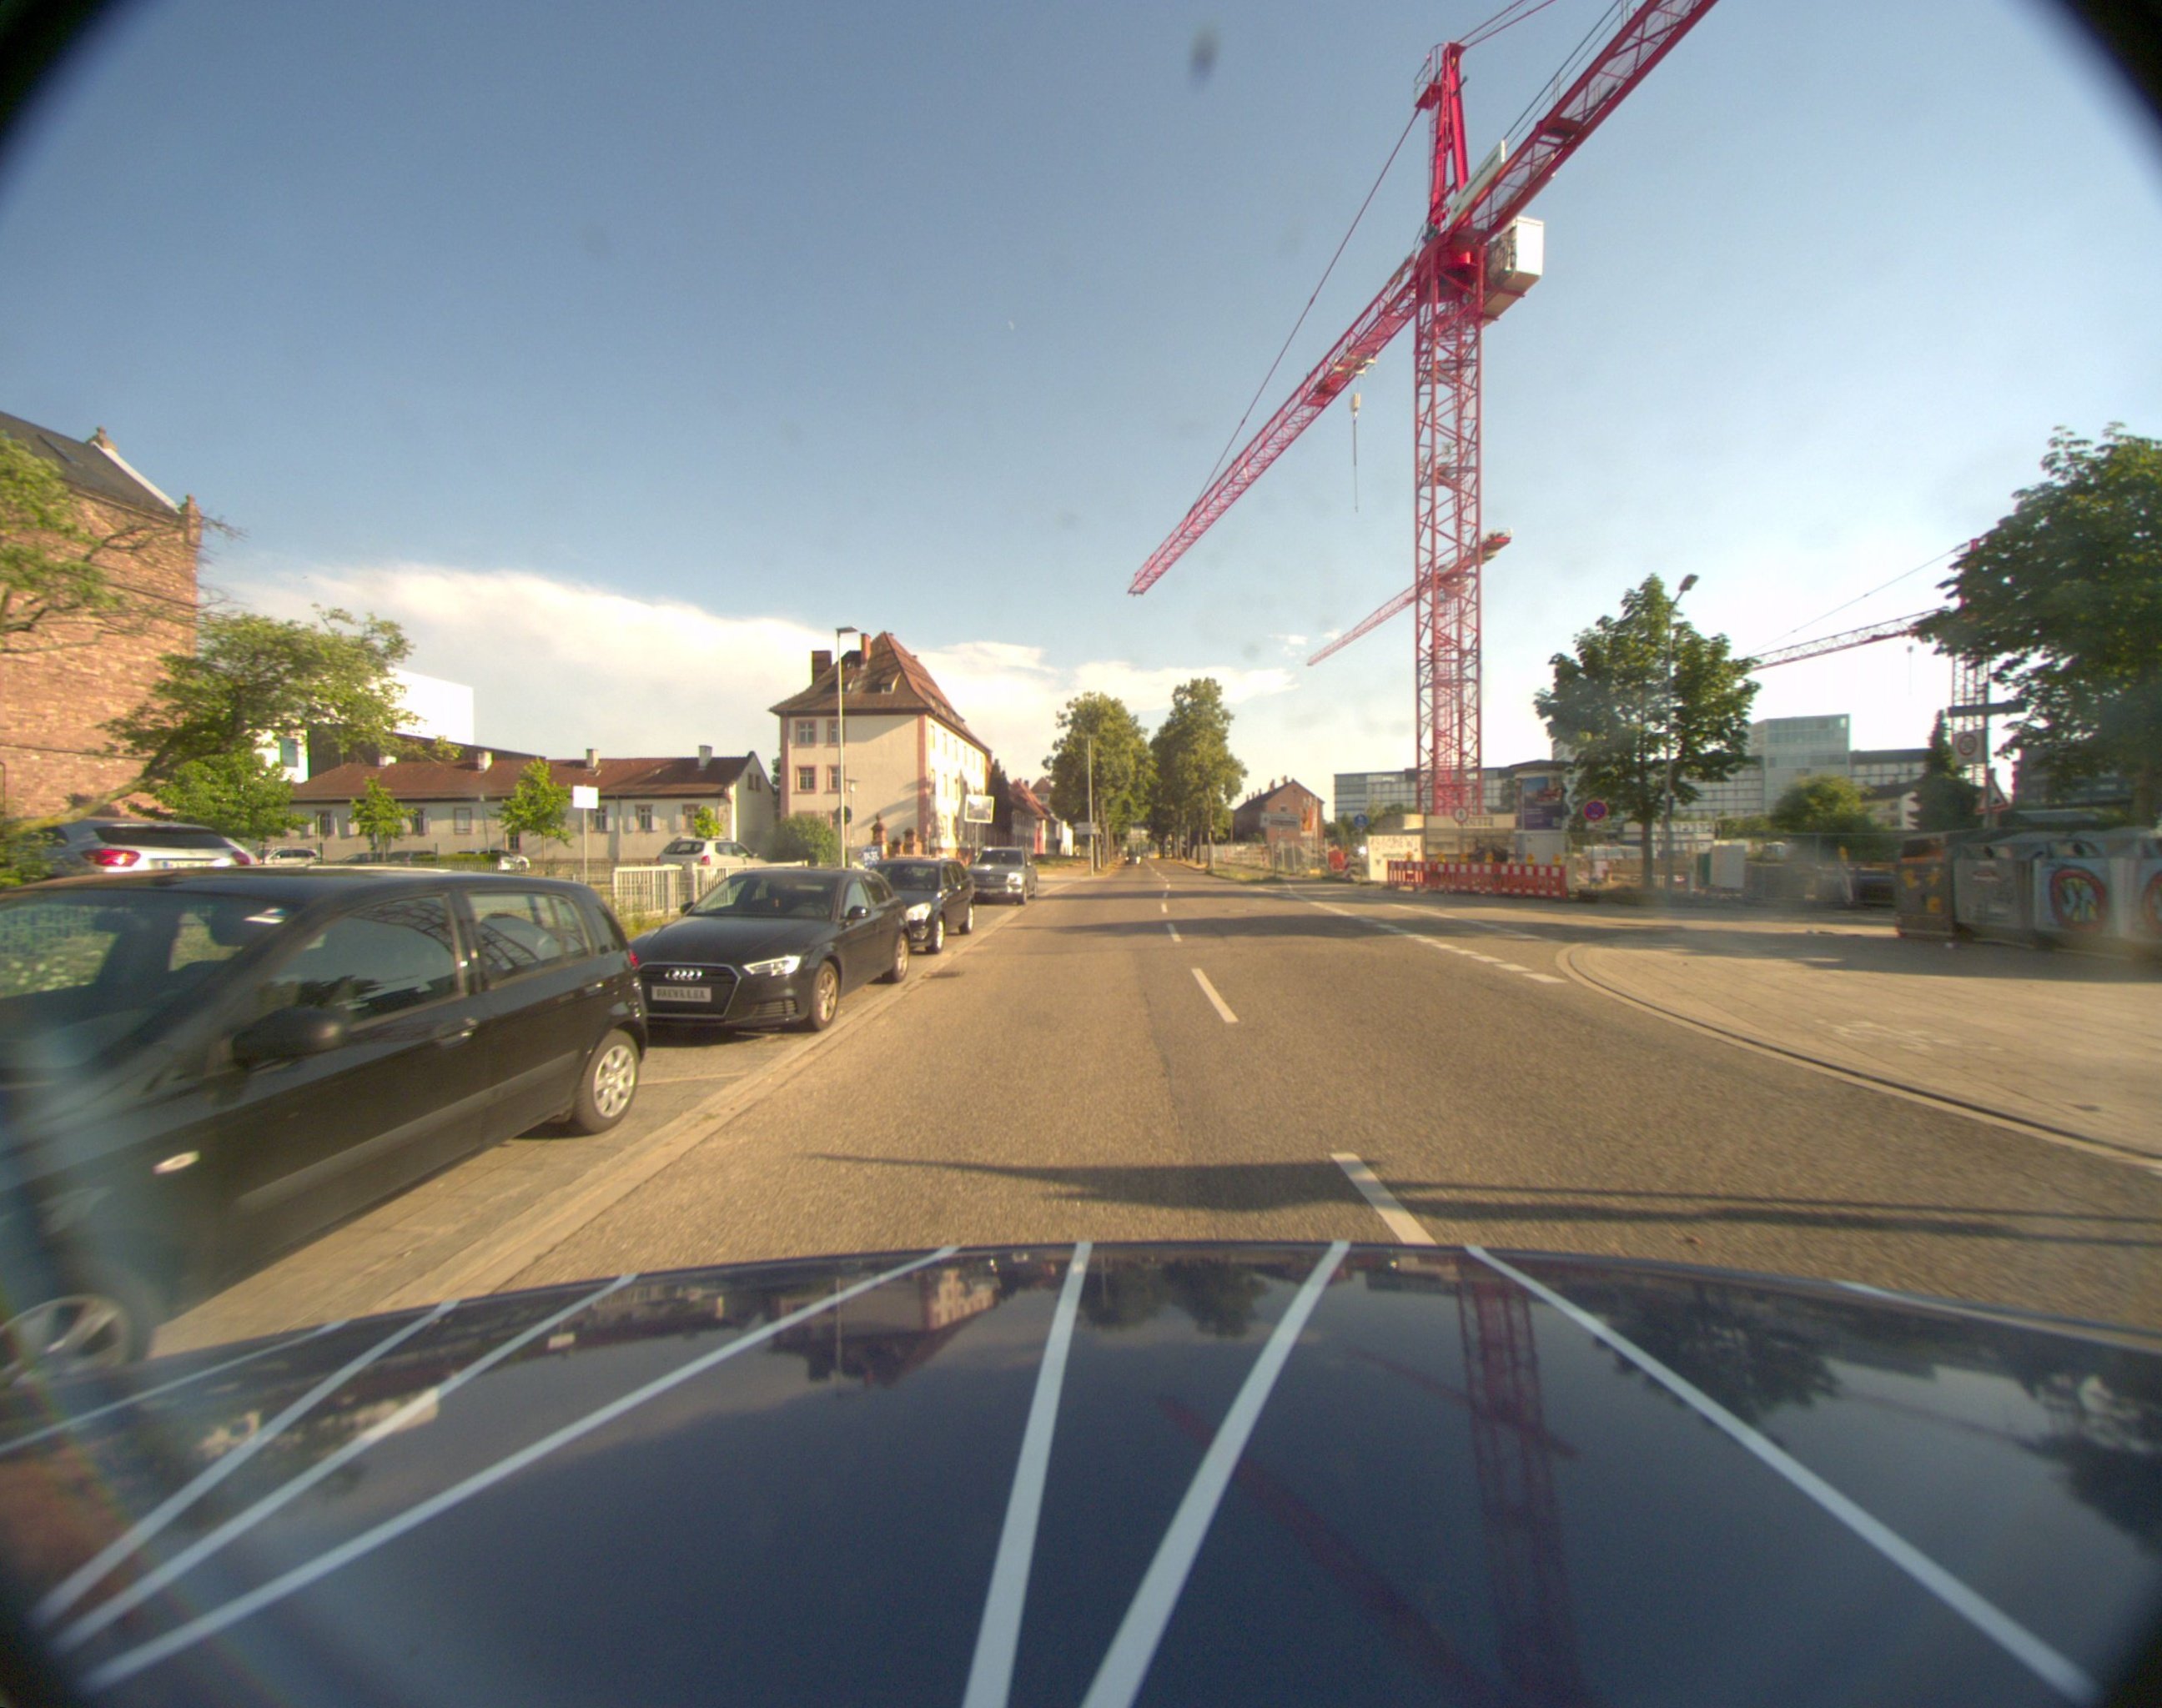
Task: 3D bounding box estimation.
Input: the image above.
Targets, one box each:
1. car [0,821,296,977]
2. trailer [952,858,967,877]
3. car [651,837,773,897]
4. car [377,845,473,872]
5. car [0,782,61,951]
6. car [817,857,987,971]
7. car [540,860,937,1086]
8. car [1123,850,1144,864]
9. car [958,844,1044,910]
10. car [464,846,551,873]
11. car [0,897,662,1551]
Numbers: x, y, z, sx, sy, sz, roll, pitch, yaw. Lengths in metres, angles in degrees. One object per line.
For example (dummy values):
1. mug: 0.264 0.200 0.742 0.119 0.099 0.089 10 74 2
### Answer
1. car: -13.401 0.570 9.983 3.997 1.784 2.000 -3 1 1
2. trailer: -7.094 0.792 44.239 0.483 1.060 1.268 -2 1 6
3. car: -11.365 0.321 23.750 1.657 1.652 4.000 -3 1 2
4. car: -45.509 0.269 52.883 1.998 1.703 4.972 -2 1 5
5. car: -13.367 0.231 7.429 3.997 1.784 2.000 -3 1 1
6. car: -2.914 0.891 13.412 1.746 1.532 4.439 1 1 3
7. car: -3.096 0.929 8.219 1.906 1.521 4.810 2 1 3
8. car: 5.750 0.373 83.676 1.776 1.492 3.672 -1 0 -4
9. car: -2.429 0.630 24.249 1.925 1.769 4.810 3 1 3
10. car: -40.423 0.356 53.723 1.998 1.703 4.972 -2 1 5
11. car: -3.357 0.932 2.650 1.655 1.427 3.960 0 -1 -1
